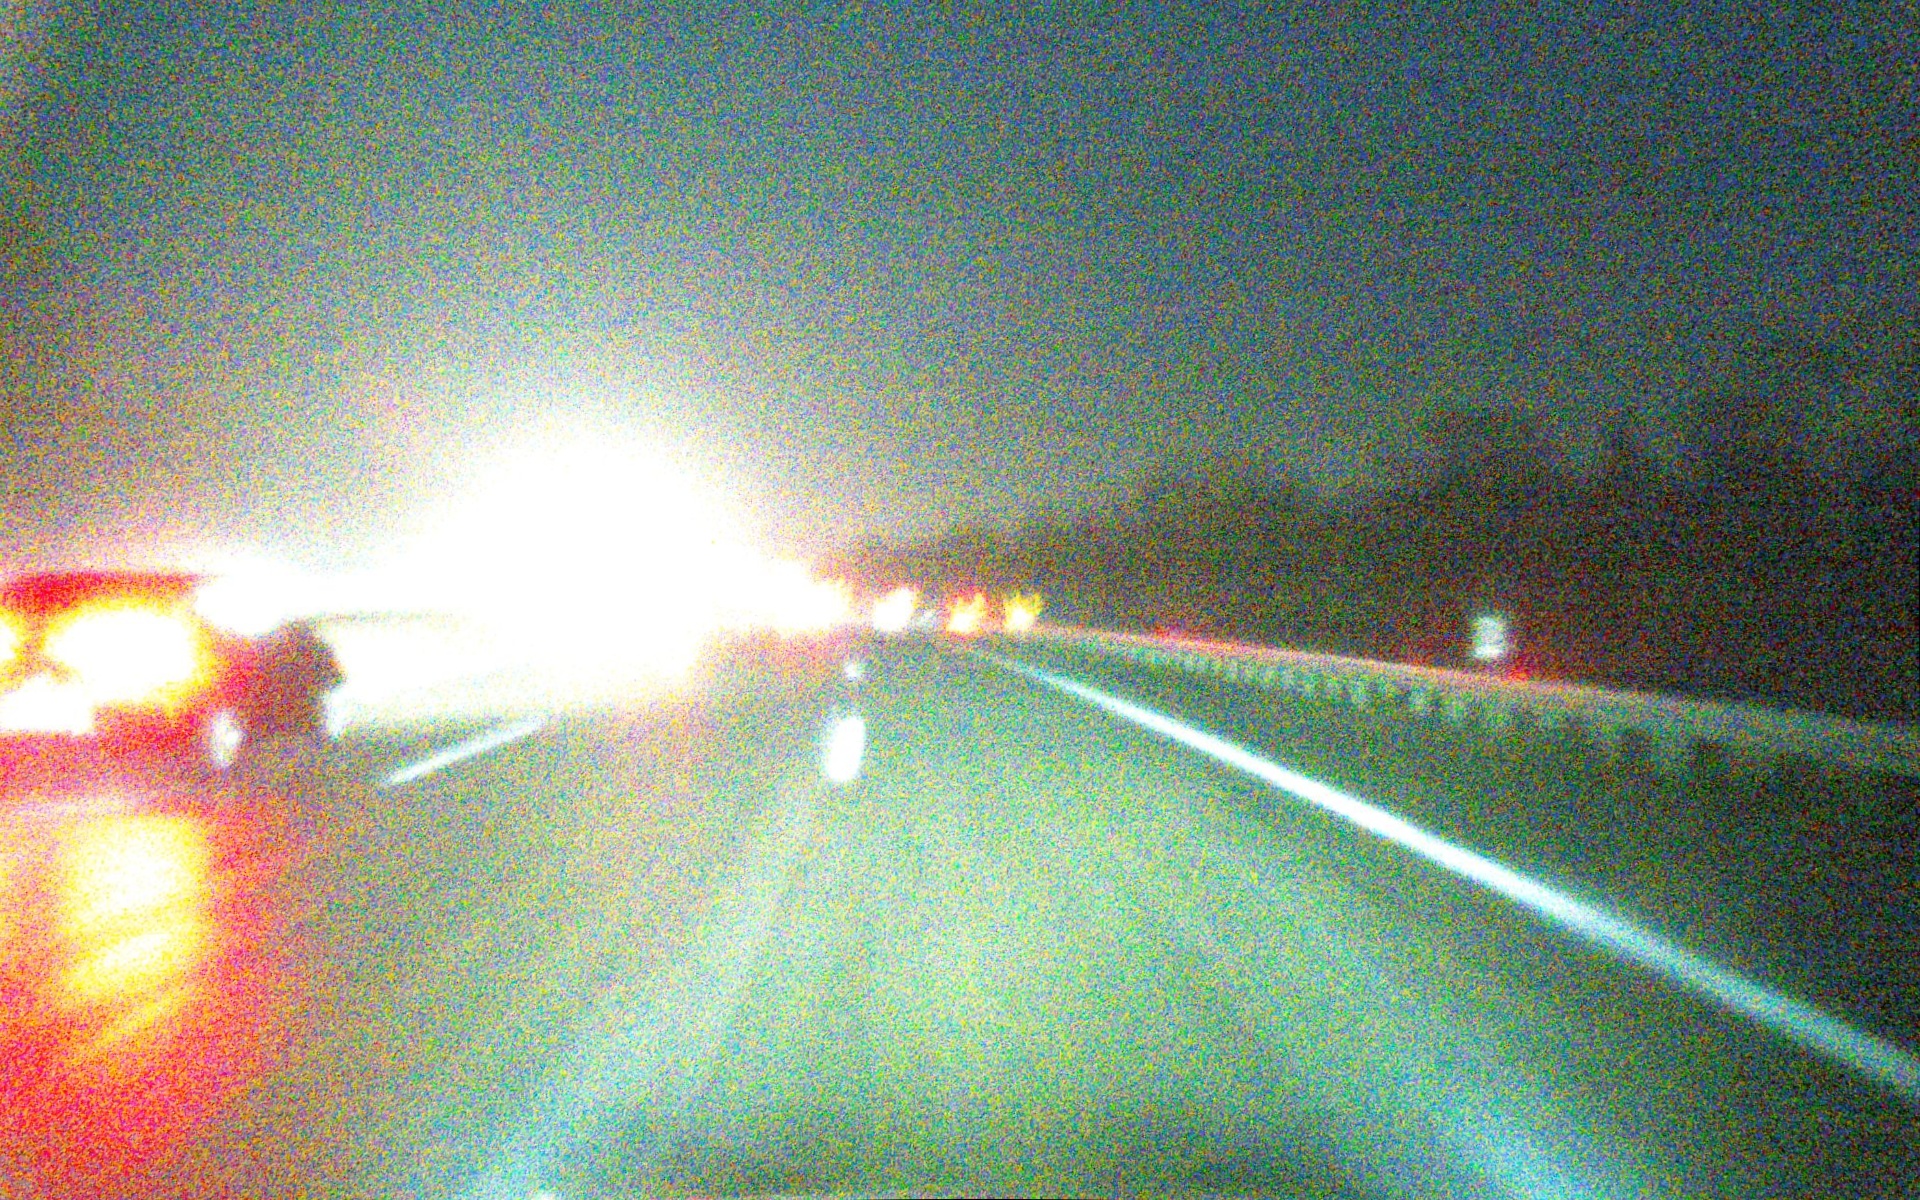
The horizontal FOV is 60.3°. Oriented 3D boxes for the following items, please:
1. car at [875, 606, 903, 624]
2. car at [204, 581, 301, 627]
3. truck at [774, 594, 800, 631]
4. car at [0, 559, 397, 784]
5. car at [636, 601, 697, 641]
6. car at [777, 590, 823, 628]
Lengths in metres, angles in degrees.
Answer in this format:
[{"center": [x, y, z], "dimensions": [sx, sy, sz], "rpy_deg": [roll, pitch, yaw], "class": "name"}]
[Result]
[{"center": [-5.613, 1.178, 129.889], "dimensions": [1.554, 1.268, 3.057], "rpy_deg": [5, -2, -14], "class": "car"}, {"center": [-20.913, 0.111, 49.035], "dimensions": [1.377, 1.288, 4.068], "rpy_deg": [1, 0, -4], "class": "car"}, {"center": [-15.360, 1.140, 146.657], "dimensions": [1.956, 3.096, 6.451], "rpy_deg": [1, -1, -9], "class": "truck"}, {"center": [-6.669, 0.535, 14.700], "dimensions": [1.822, 1.567, 4.747], "rpy_deg": [4, 0, -3], "class": "car"}, {"center": [-9.698, 0.714, 54.822], "dimensions": [1.630, 1.258, 3.757], "rpy_deg": [1, -1, -5], "class": "car"}, {"center": [-6.904, 0.372, 71.741], "dimensions": [1.766, 1.513, 3.997], "rpy_deg": [2, 0, -3], "class": "car"}]
